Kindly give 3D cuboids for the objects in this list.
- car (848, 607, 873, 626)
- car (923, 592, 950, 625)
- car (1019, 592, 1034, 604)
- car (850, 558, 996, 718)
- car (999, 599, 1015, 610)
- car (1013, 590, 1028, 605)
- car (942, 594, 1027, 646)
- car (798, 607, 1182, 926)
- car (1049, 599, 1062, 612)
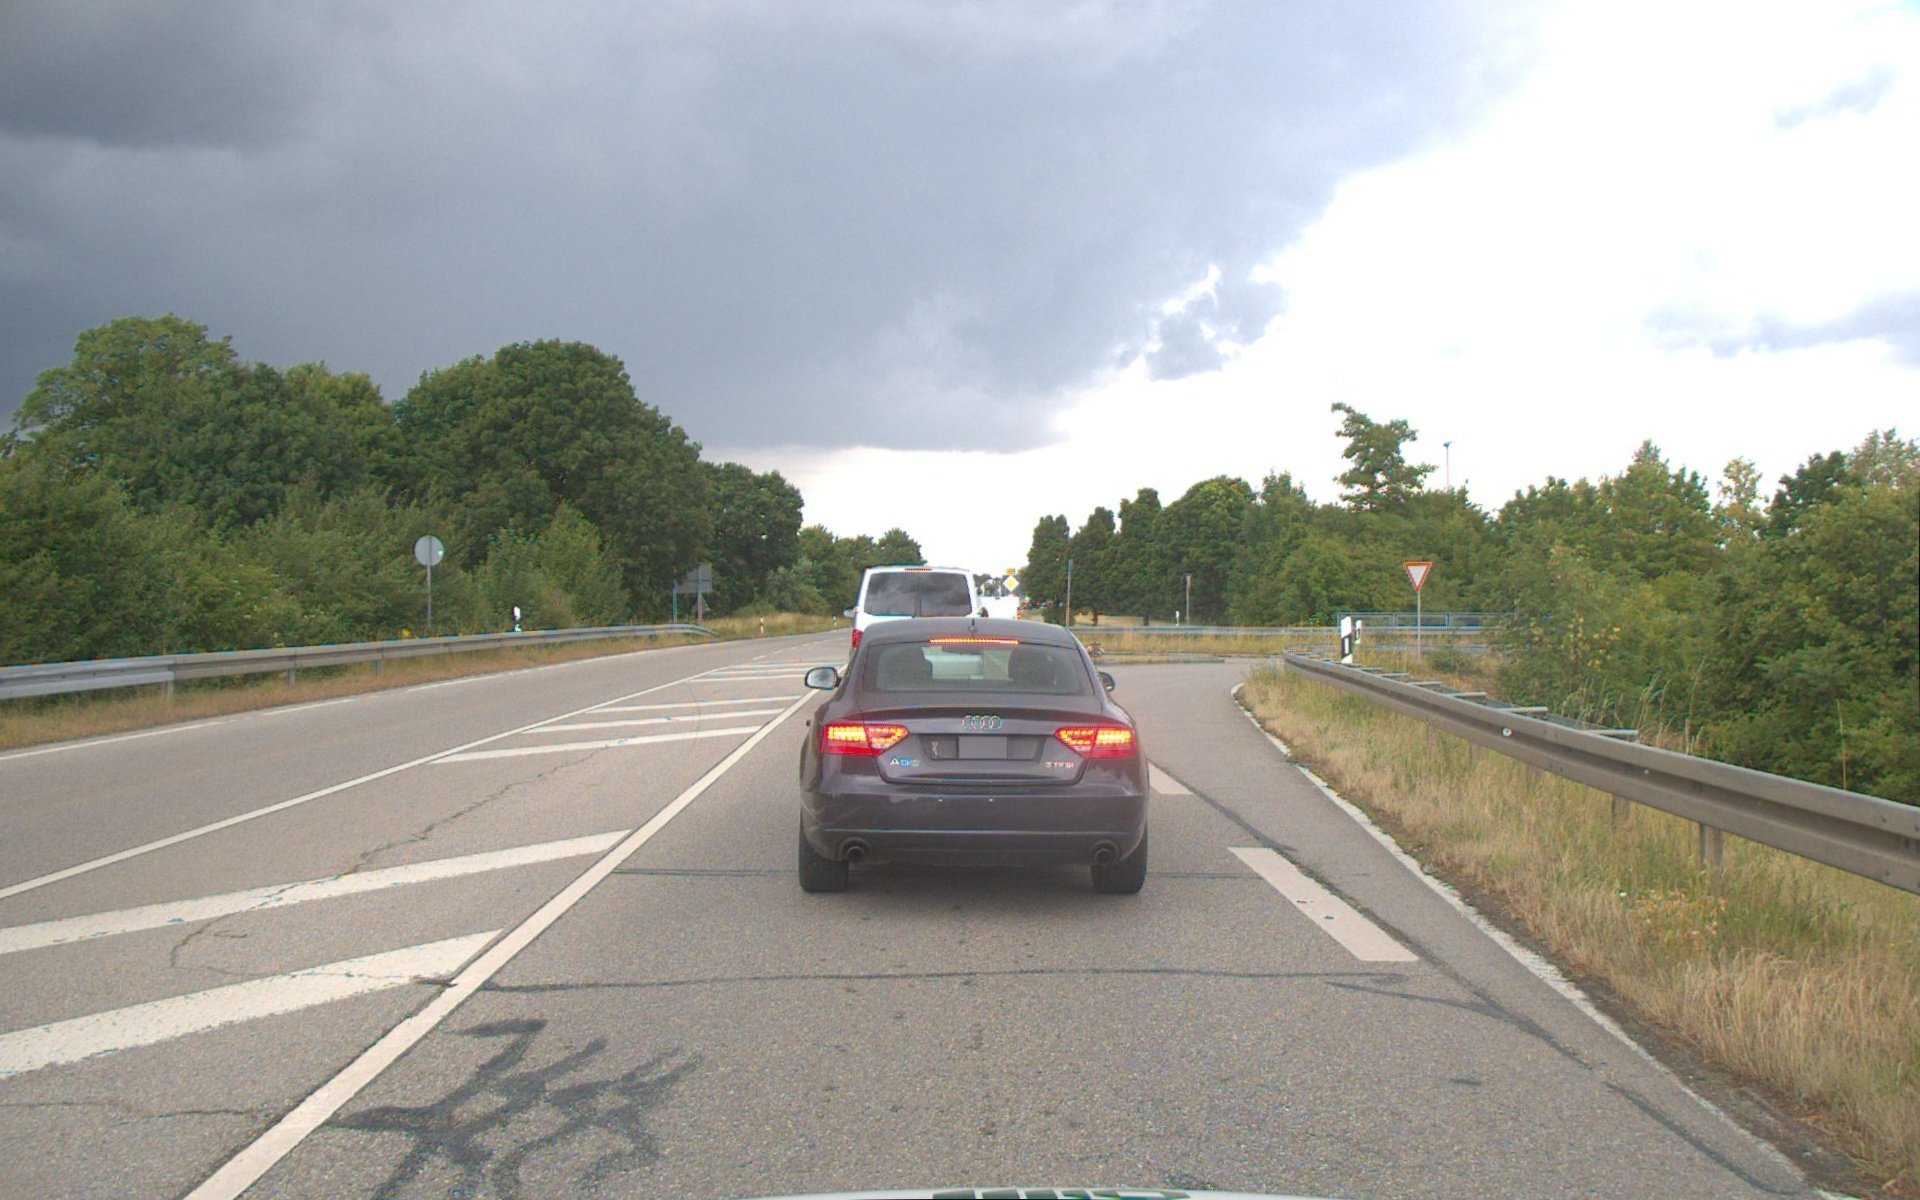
[{"bbox_3d":[-8.069,1.323,134.332,1.761,1.423,3.483,1,0,-1],"label":"car"},{"bbox_3d":[-1.811,0.627,127.983,1.953,2.450,3.999,2,0,-1],"label":"car"},{"bbox_3d":[9.662,-0.260,240.858,1.952,1.721,4.000,1,0,1],"label":"car"},{"bbox_3d":[-0.548,0.484,23.531,1.872,2.049,3.999,1,0,-2],"label":"car"},{"bbox_3d":[7.260,0.697,253.439,2.161,1.610,4.377,1,0,-2],"label":"car"},{"bbox_3d":[8.091,-0.328,221.566,1.952,2.049,4.000,1,0,1],"label":"car"},{"bbox_3d":[1.000,0.808,70.801,2.050,2.101,4.848,1,0,-20],"label":"car"},{"bbox_3d":[0.081,0.766,9.188,1.744,1.423,3.335,0,0,-2],"label":"car"},{"bbox_3d":[13.514,0.762,233.618,1.836,1.721,4.002,1,0,4],"label":"car"}]
